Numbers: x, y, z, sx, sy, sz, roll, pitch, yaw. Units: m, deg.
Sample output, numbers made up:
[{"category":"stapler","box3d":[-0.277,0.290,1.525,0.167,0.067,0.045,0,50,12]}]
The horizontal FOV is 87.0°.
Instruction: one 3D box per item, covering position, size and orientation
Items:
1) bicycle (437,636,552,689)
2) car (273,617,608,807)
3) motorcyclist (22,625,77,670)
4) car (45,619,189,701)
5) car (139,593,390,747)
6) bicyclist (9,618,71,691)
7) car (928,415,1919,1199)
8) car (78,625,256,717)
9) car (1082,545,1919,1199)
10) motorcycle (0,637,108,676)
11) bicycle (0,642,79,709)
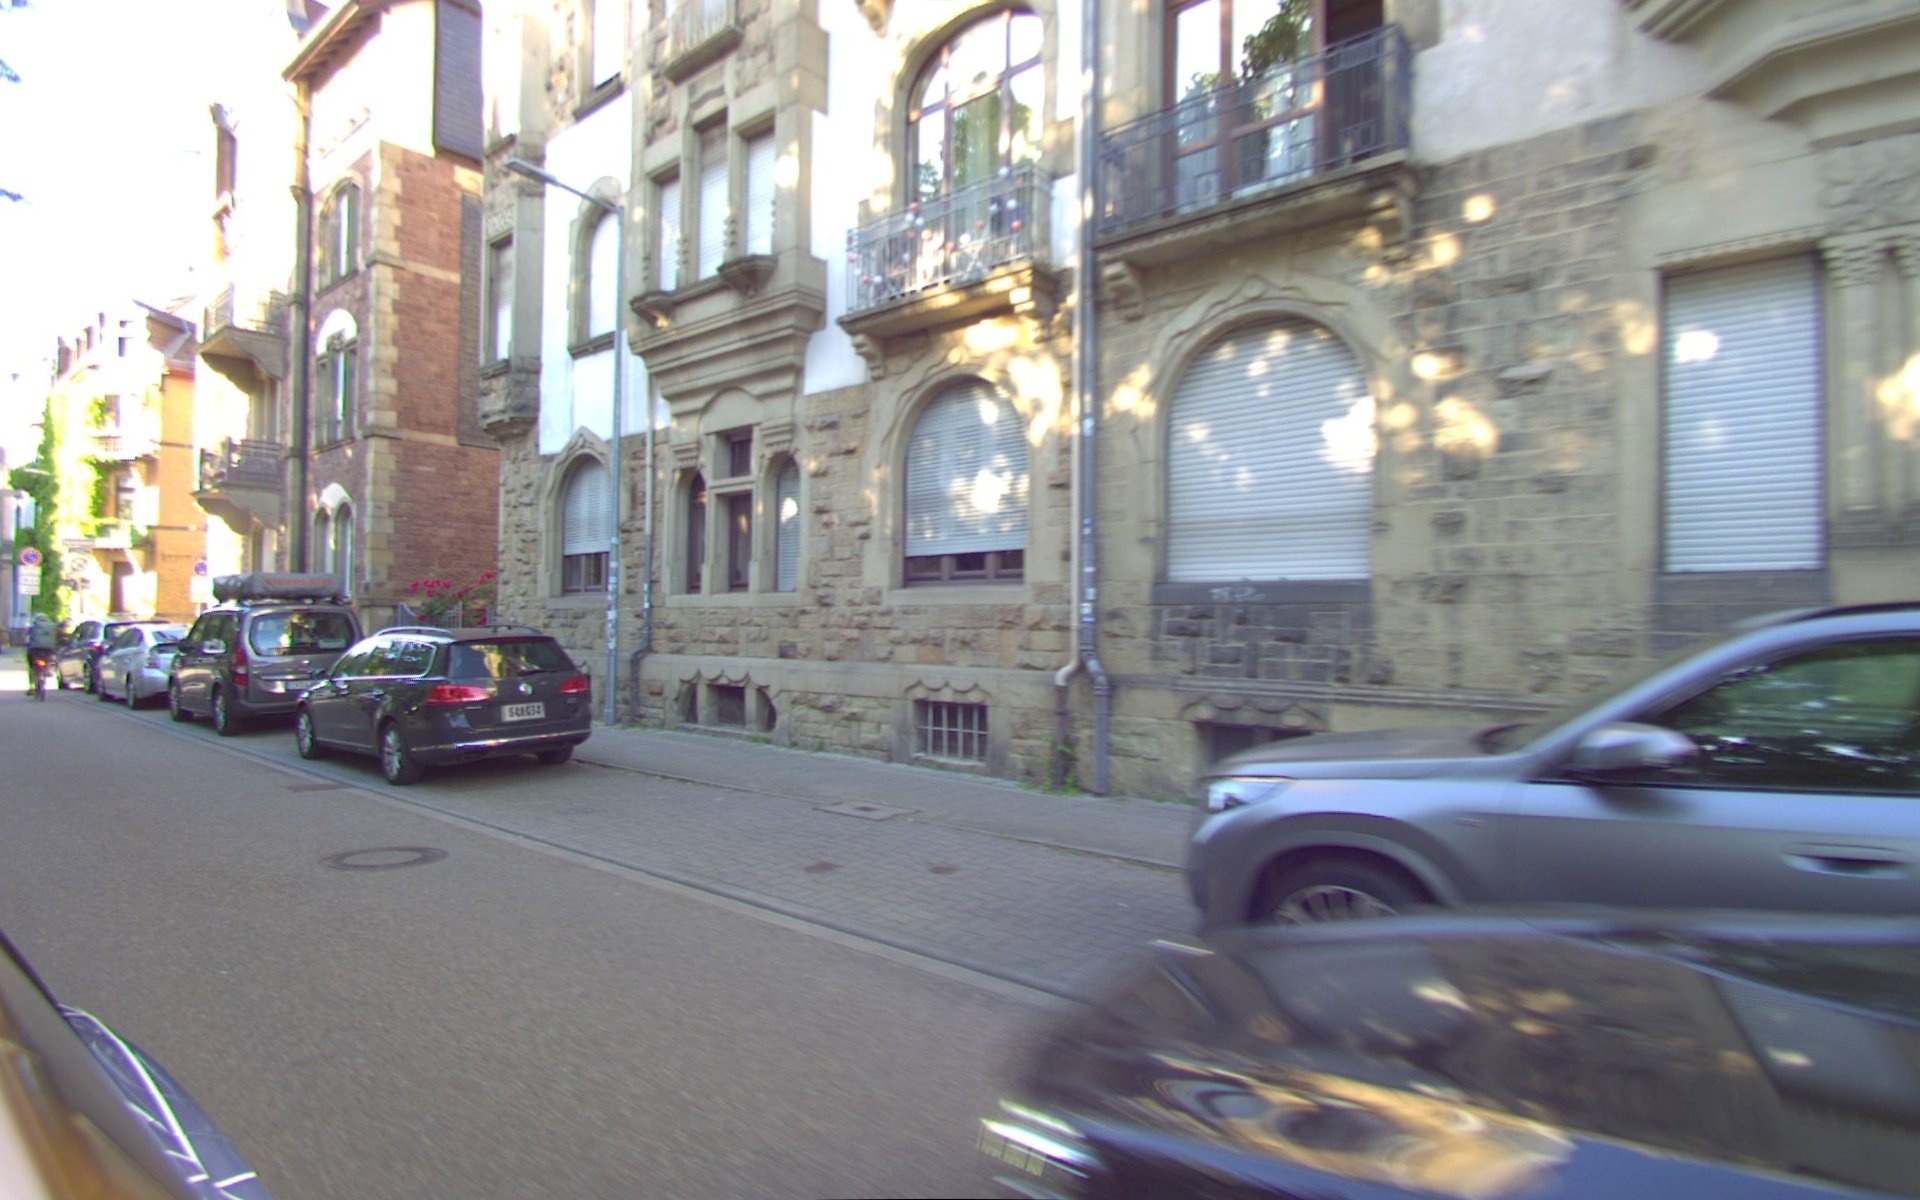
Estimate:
[{"category":"bicycle","box3d":[-10.221,1.351,22.311,0.608,1.087,2.332,-1,-2,33]},{"category":"car","box3d":[-5.853,1.028,11.100,4.708,1.586,1.711,0,-1,42]},{"category":"motorcyclist","box3d":[-28.002,1.433,31.137,1.209,1.351,0.987,1,-2,-43]},{"category":"car","box3d":[-18.937,1.275,22.677,4.254,1.634,1.712,-1,-1,39]},{"category":"car","box3d":[-10.575,0.946,15.264,4.493,1.989,1.949,-1,-1,39]},{"category":"bicyclist","box3d":[-17.638,1.045,19.395,1.058,1.355,0.658,-2,-4,38]},{"category":"car","box3d":[2.213,0.679,0.457,4.380,1.497,1.876,1,-2,41]},{"category":"car","box3d":[-14.974,1.241,19.029,4.450,1.510,1.712,-1,-1,39]},{"category":"car","box3d":[2.828,0.703,3.441,4.391,1.634,2.029,0,-1,39]},{"category":"motorcycle","box3d":[-27.931,1.724,31.199,2.481,1.110,0.987,1,-2,-43]},{"category":"bicycle","box3d":[-17.802,1.420,19.469,2.616,1.187,0.746,-2,-4,38]}]
